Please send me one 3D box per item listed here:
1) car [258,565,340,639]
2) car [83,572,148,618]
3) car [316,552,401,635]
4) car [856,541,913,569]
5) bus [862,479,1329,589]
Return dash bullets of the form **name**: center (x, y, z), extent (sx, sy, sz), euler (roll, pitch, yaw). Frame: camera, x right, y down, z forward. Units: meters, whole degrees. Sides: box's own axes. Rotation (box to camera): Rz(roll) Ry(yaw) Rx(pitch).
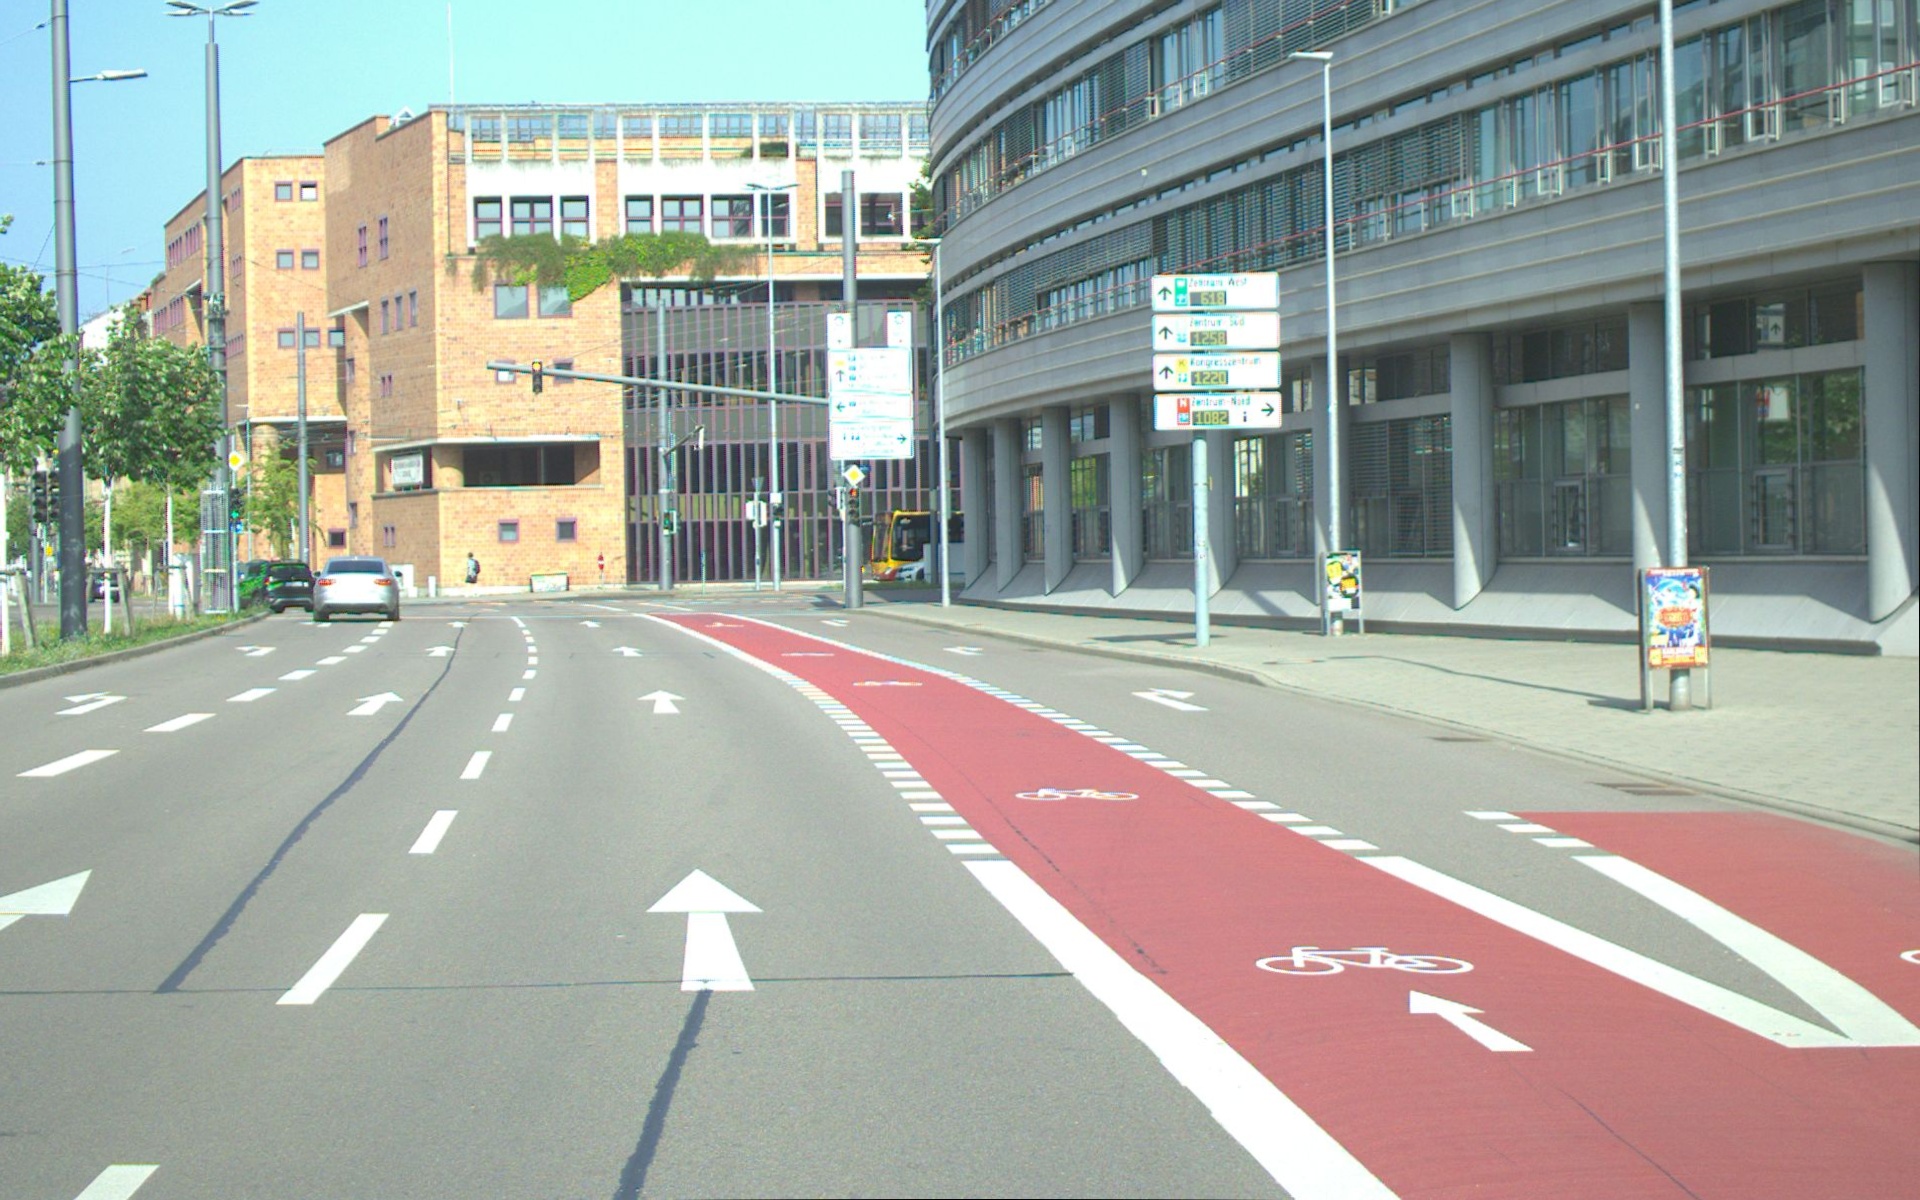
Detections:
- **car**: center (-18.764, 0.087, 97.703), extent (1.993, 2.007, 4.243), euler (-1, -1, -8)
- **car**: center (-39.030, -0.213, 158.775), extent (1.993, 2.007, 4.000), euler (-1, -1, -27)
- **car**: center (-13.408, -0.123, 76.756), extent (1.704, 1.749, 3.891), euler (-1, -1, -8)
- **car**: center (-2.789, -1.658, 126.890), extent (1.951, 0.955, 1.094), euler (1, -2, -9)
- **bus**: center (5.187, -2.535, 131.807), extent (17.606, 3.797, 2.865), euler (-1, -1, -8)
